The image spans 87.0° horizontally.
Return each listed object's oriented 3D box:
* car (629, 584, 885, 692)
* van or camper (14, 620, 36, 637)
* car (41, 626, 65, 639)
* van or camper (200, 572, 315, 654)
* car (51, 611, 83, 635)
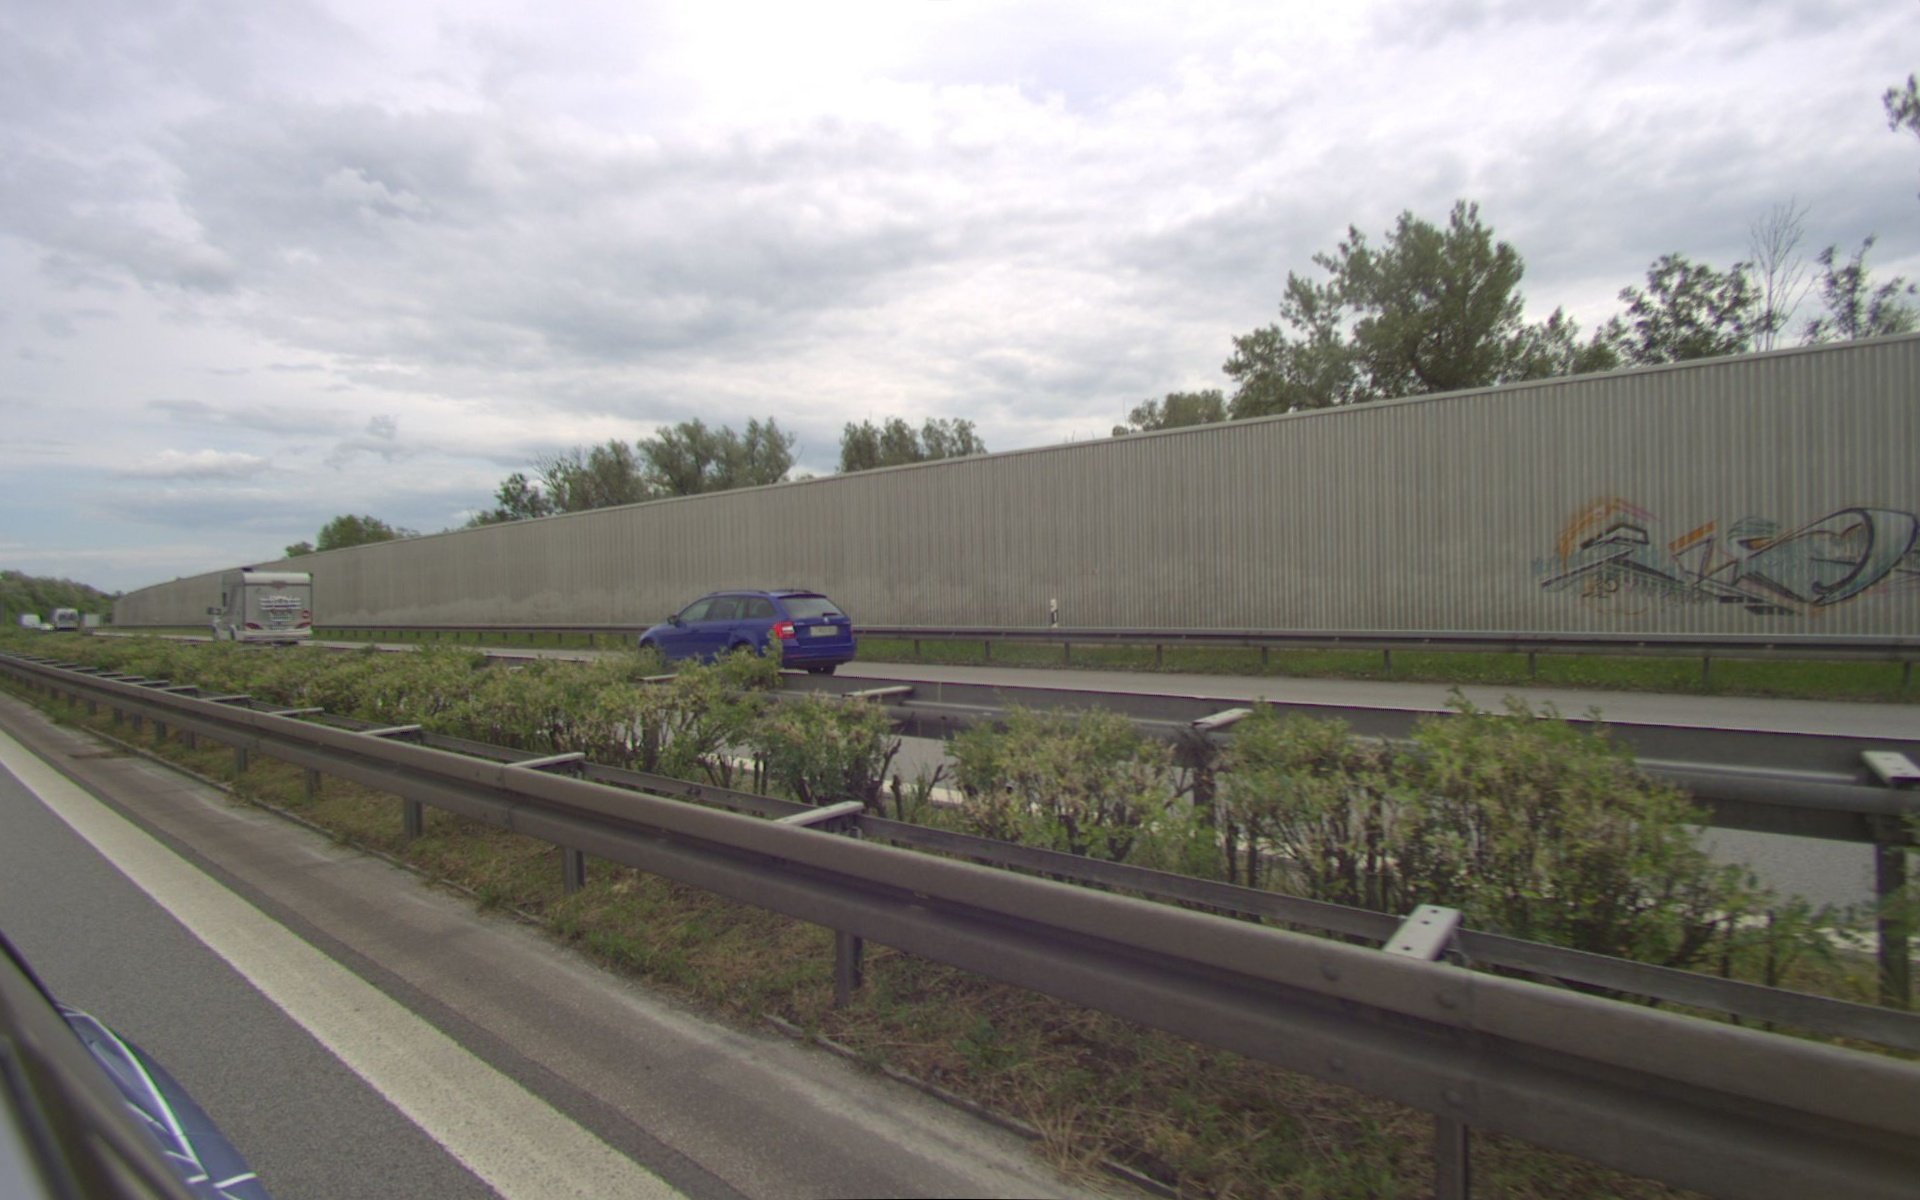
[{"bbox_3d":[-3.471,0.577,16.794,4.514,1.558,1.793,-1,-1,41],"label":"car"},{"bbox_3d":[-135.484,4.119,146.622,6.310,2.460,1.971,-2,-2,44],"label":"van or camper"},{"bbox_3d":[-108.172,3.873,120.664,4.501,1.414,1.843,-2,-2,45],"label":"car"},{"bbox_3d":[-26.076,0.473,37.450,5.753,2.800,2.230,-1,-1,42],"label":"van or camper"},{"bbox_3d":[-93.408,2.417,105.816,5.686,2.474,2.087,-2,-2,45],"label":"car"}]
